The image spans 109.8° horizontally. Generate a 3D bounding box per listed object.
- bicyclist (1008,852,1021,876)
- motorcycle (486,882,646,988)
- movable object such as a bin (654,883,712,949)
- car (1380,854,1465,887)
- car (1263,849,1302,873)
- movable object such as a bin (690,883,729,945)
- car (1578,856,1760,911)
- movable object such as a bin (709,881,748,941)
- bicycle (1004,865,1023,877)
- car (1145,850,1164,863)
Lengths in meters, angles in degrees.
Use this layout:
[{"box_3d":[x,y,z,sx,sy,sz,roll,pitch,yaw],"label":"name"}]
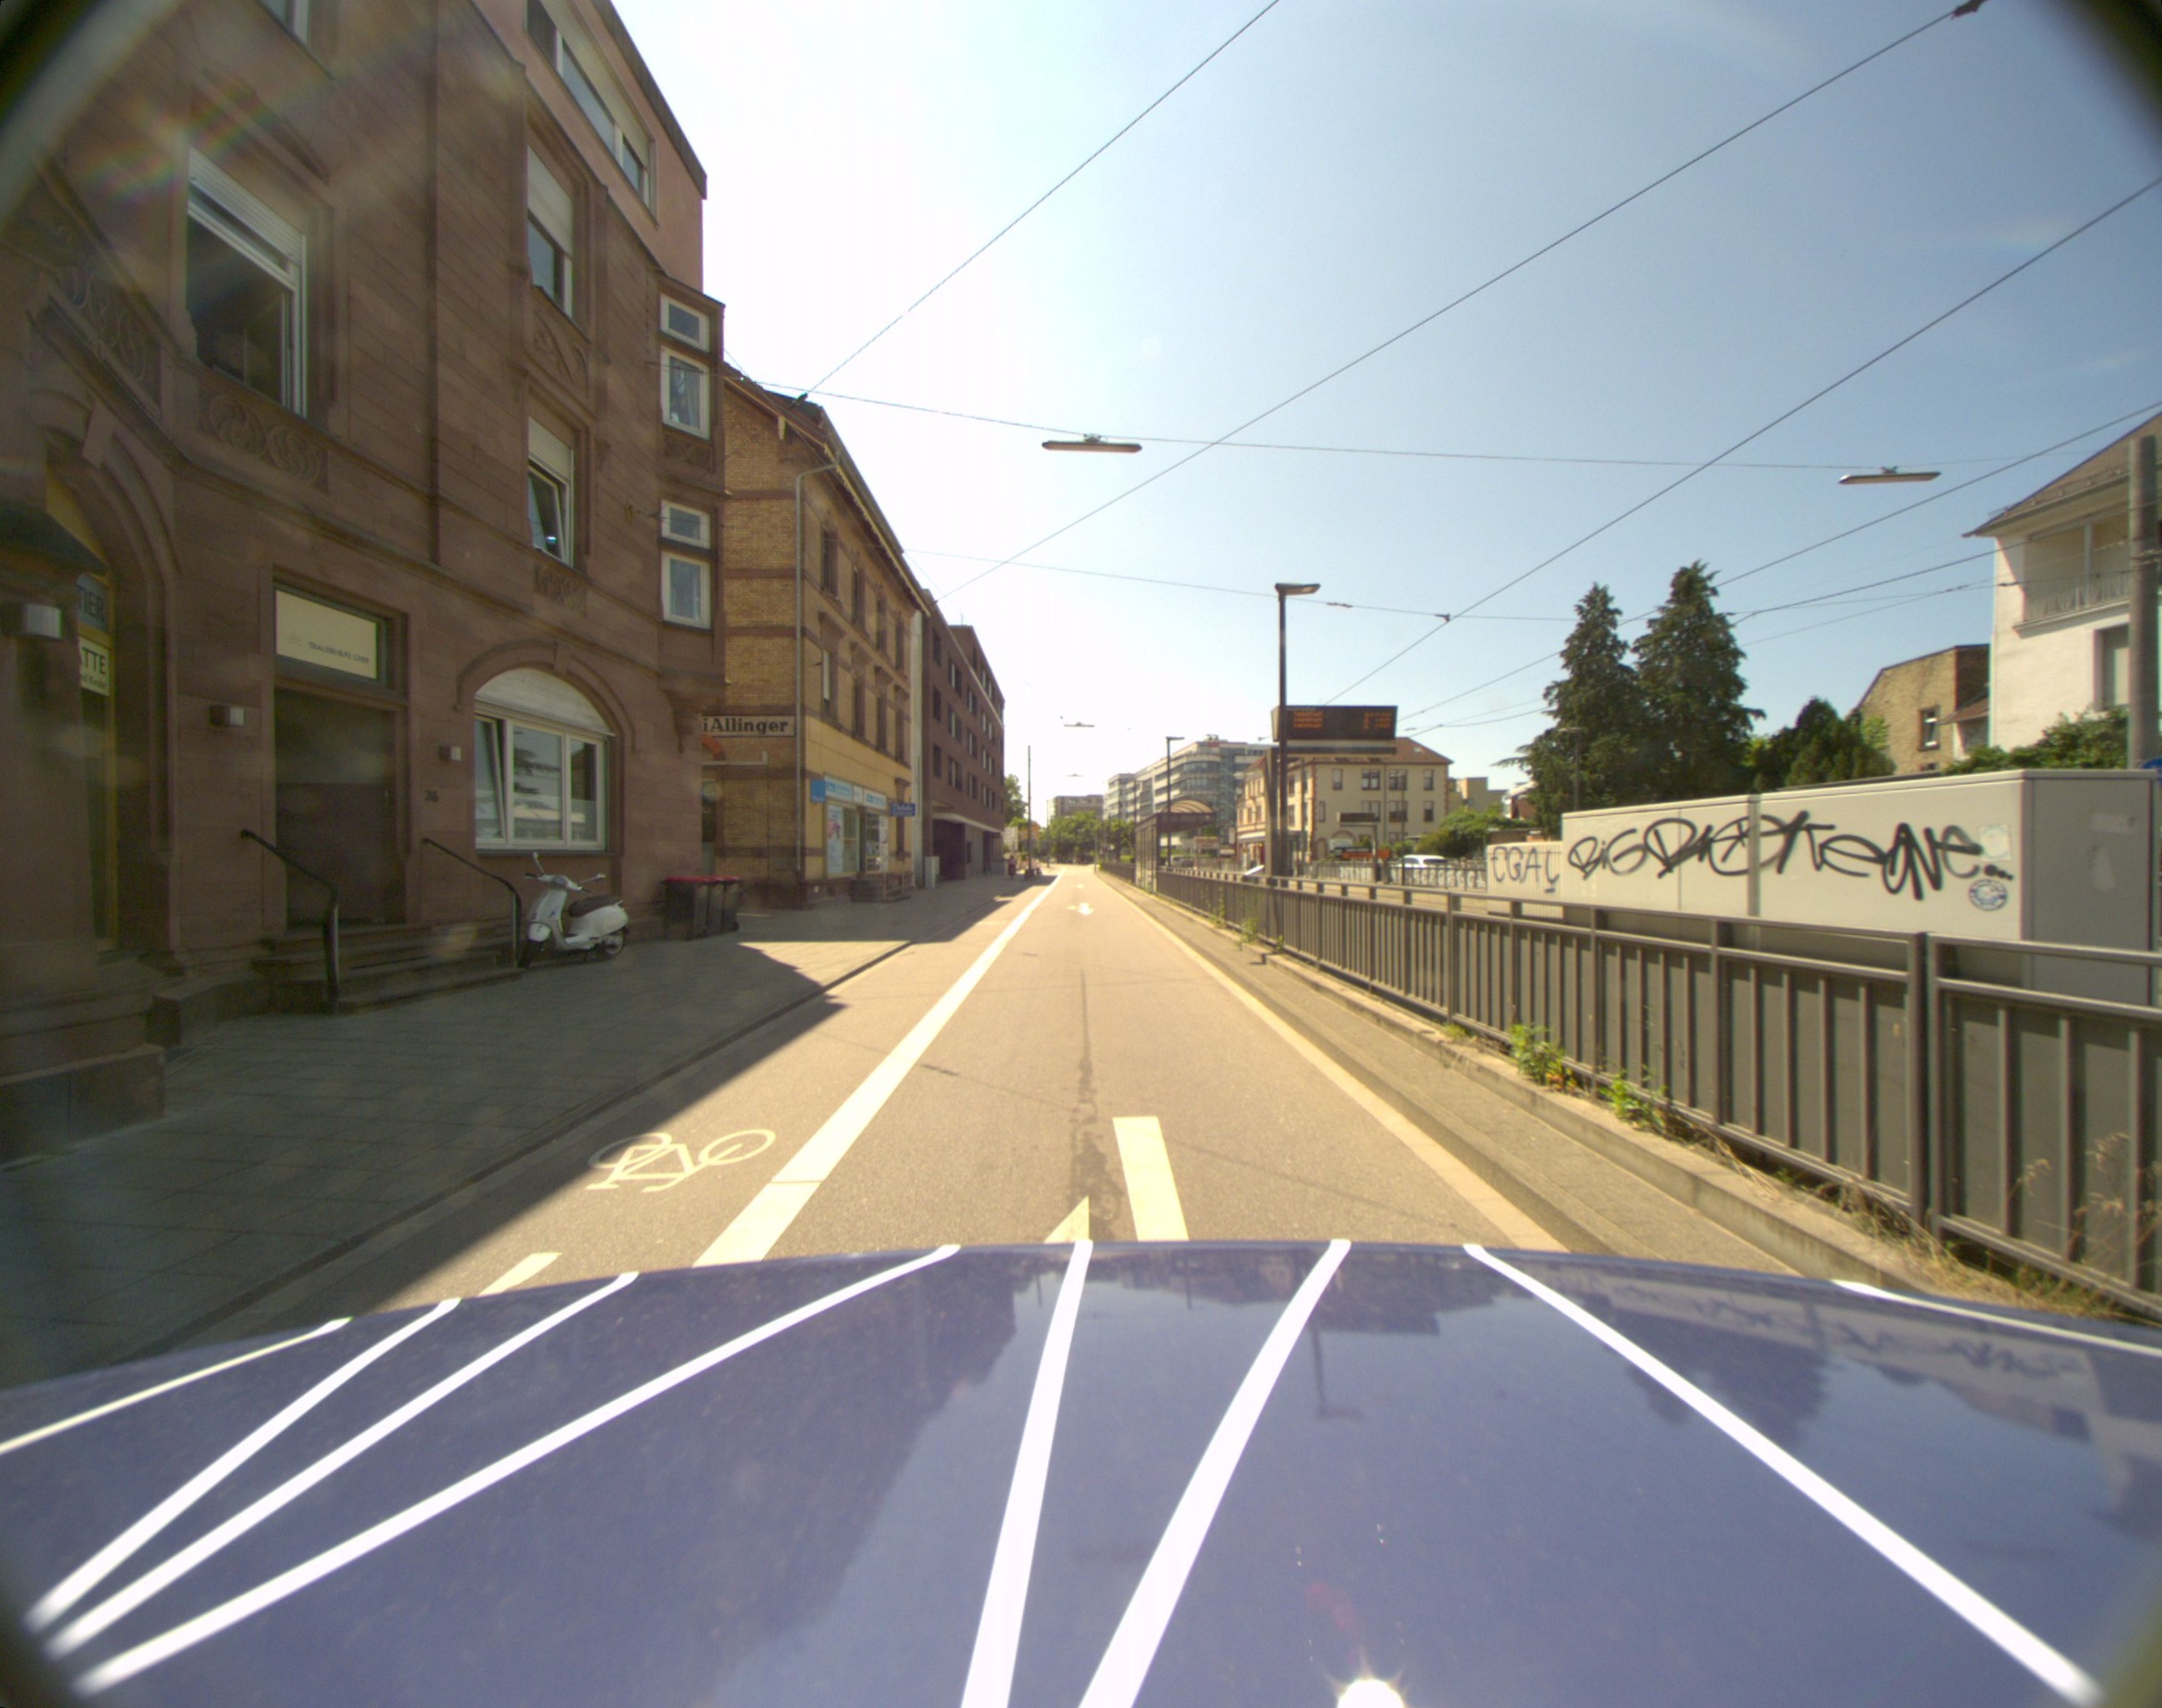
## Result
[{"box_3d":[-4.765,0.741,54.532,0.670,1.712,0.929,0,0,16],"label":"bicyclist"},{"box_3d":[-6.437,0.960,9.634,0.527,1.142,1.881,0,0,8],"label":"motorcycle"},{"box_3d":[-6.682,1.028,12.772,0.649,1.042,0.559,2,1,-1],"label":"movable object such as a bin"},{"box_3d":[16.243,0.724,36.417,1.823,1.459,4.622,1,0,-3],"label":"car"},{"box_3d":[16.289,0.550,61.725,1.860,1.806,4.697,1,0,-1],"label":"car"},{"box_3d":[-6.521,1.045,13.349,0.376,1.042,0.559,2,1,0],"label":"movable object such as a bin"},{"box_3d":[16.484,0.769,21.618,1.823,1.387,4.174,1,0,-3],"label":"car"},{"box_3d":[-6.462,1.035,13.941,0.376,1.042,0.657,2,0,0],"label":"movable object such as a bin"},{"box_3d":[-4.812,1.203,54.415,0.689,0.793,1.910,-1,0,16],"label":"bicycle"},{"box_3d":[10.658,0.361,109.793,1.999,1.827,3.998,-1,0,-5],"label":"car"}]
